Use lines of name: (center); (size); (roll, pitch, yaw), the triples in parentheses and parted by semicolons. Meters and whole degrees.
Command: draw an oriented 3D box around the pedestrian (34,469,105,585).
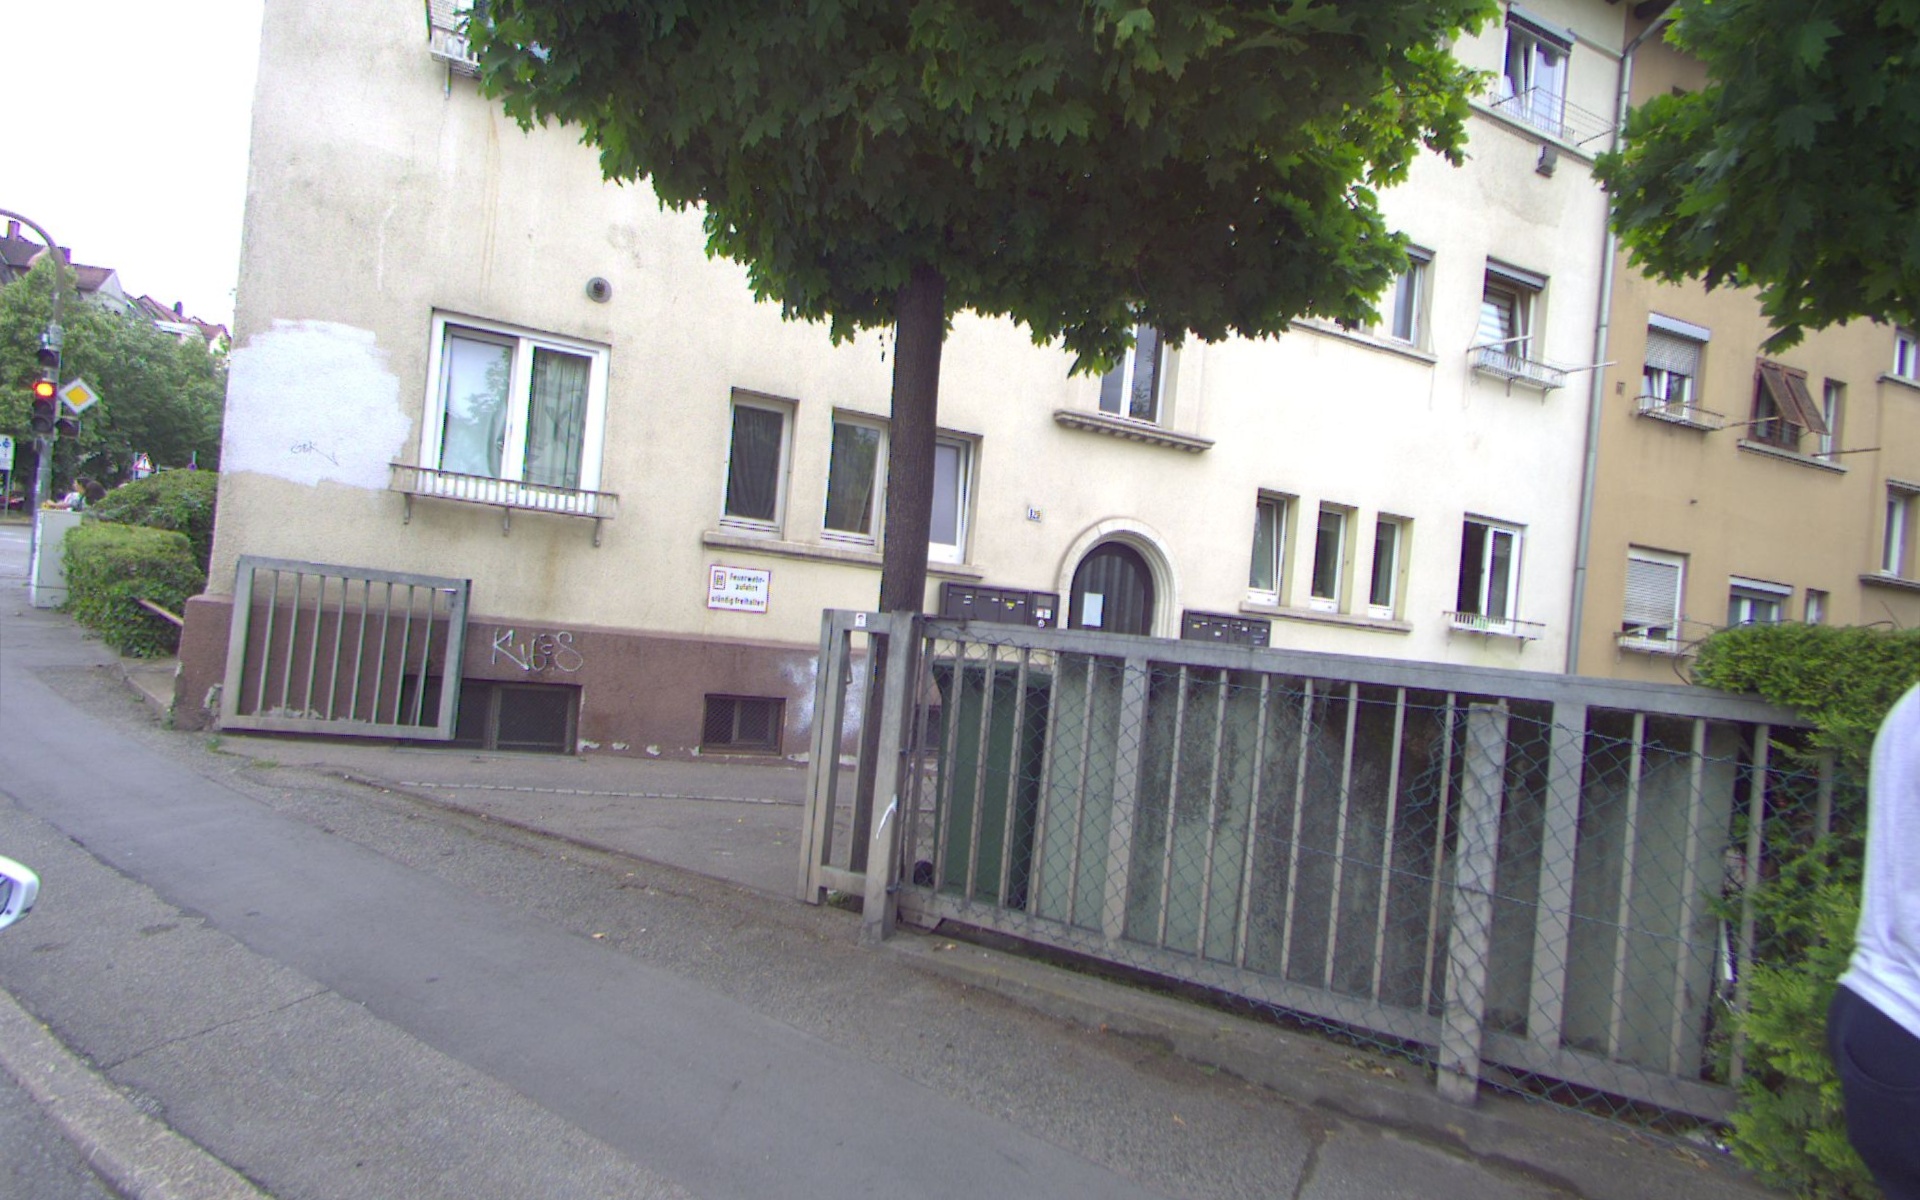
pedestrian: (-14.927, -1.217, 16.869); (0.521, 1.840, 0.590); (6, -2, 35)

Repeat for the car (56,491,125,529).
car: (-62.679, -6.471, 72.608); (1.970, 2.036, 3.991); (8, -3, -15)

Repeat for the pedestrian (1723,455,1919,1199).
pedestrian: (1.553, 0.702, 1.512); (0.459, 1.761, 0.693); (7, 3, 29)

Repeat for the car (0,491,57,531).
car: (-60.859, -5.804, 64.982); (1.970, 2.036, 3.991); (8, -3, -15)

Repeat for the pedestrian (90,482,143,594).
pedestrian: (-14.488, -1.059, 17.276); (0.462, 1.857, 0.320); (9, -2, -44)
